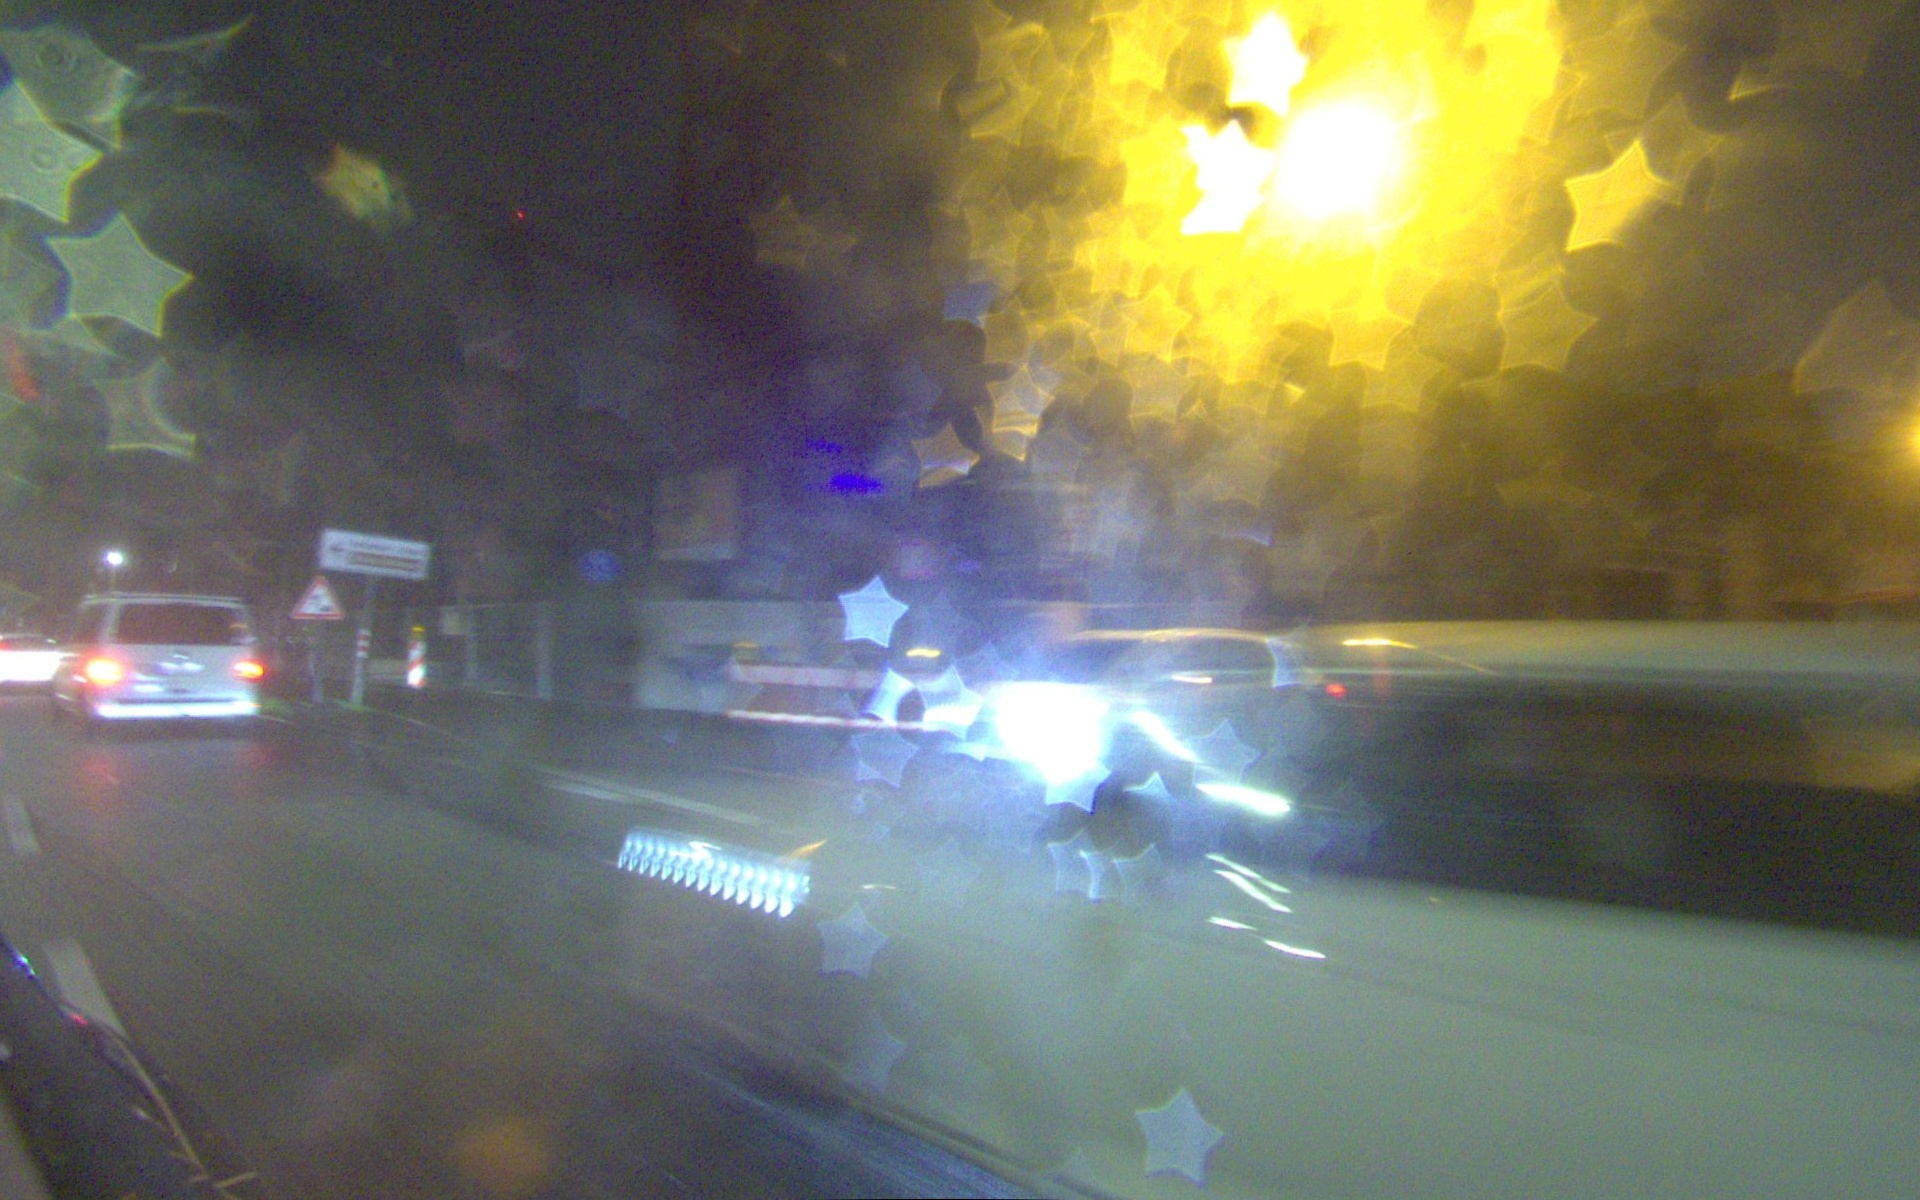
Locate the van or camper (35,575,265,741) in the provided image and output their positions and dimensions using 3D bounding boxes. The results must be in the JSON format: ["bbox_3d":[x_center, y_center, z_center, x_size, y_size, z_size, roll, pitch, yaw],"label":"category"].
[{"bbox_3d":[-12.354,0.838,15.300,4.940,2.119,1.850,-2,-4,42],"label":"van or camper"}]

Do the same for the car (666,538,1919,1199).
[{"bbox_3d":[1.395,0.678,2.205,4.577,1.472,1.777,-2,-2,42],"label":"car"}]

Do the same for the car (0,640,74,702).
[{"bbox_3d":[-23.458,1.718,25.135,4.000,1.444,1.726,-2,-4,43],"label":"car"}]

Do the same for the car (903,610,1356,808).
[{"bbox_3d":[1.898,1.065,10.580,4.627,1.631,2.004,4,-5,-36],"label":"car"}]
